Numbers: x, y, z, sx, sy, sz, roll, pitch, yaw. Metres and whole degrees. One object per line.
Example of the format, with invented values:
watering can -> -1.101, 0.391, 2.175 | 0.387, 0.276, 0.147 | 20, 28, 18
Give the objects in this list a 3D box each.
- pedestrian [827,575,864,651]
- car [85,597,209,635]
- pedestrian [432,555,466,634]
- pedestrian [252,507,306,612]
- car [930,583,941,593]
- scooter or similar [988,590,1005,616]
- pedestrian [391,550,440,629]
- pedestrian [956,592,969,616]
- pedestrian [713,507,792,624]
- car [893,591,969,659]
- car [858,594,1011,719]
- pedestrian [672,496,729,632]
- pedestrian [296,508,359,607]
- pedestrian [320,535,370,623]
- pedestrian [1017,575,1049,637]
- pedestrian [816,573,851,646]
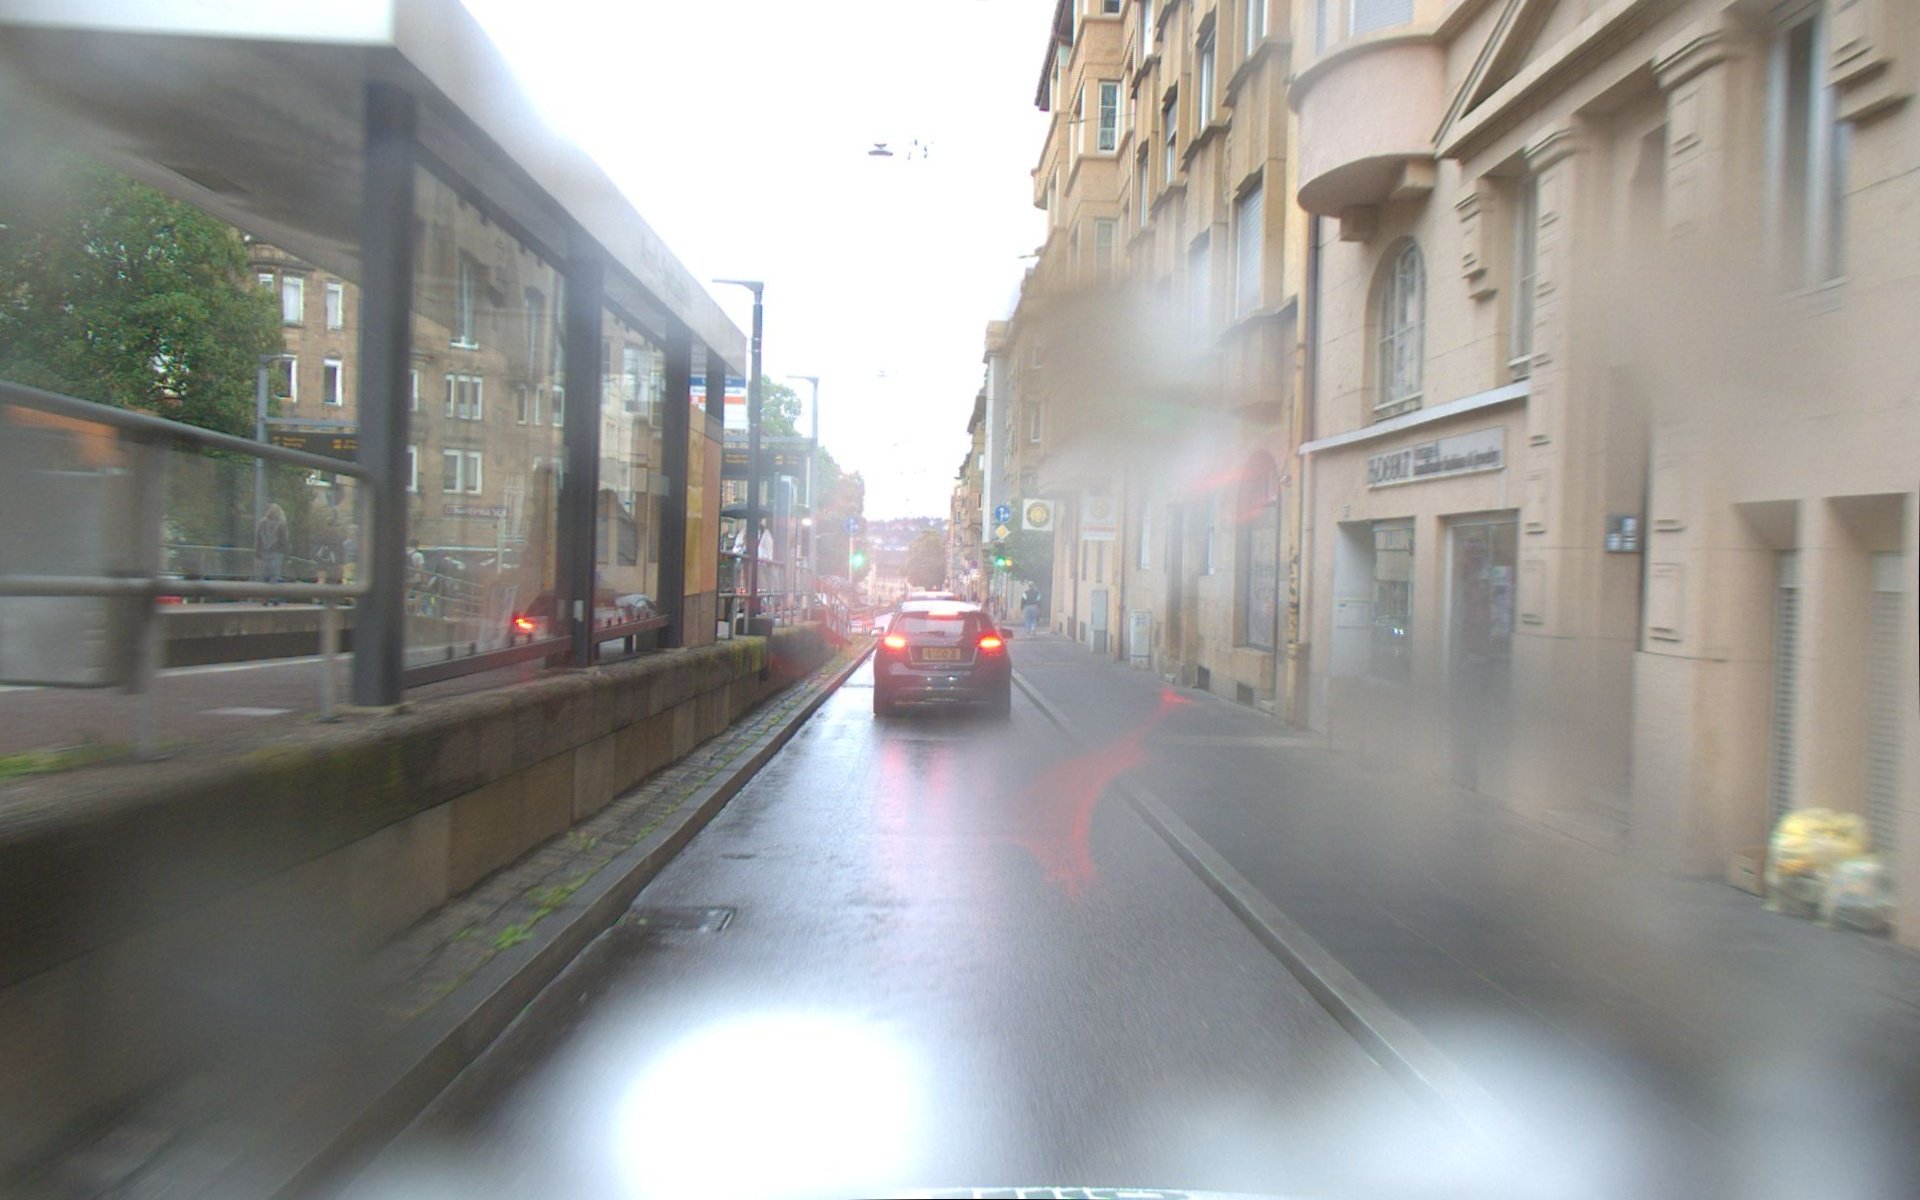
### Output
pedestrian -> -3.148, 0.348, 45.541 | 0.907, 2.049, 0.947 | 2, 0, -1
car -> -31.317, 0.599, 63.818 | 1.710, 1.427, 3.978 | 0, 0, 40
pedestrian -> -12.039, -0.128, 38.962 | 0.500, 1.850, 0.799 | 1, 0, -1
pedestrian -> -11.361, -0.675, 27.611 | 0.651, 1.728, 0.688 | 0, 0, -5
car -> -3.698, -1.769, 249.990 | 1.581, 1.340, 3.999 | 2, 0, -1
scooter or similar -> 1.726, 0.138, 78.224 | 0.625, 1.231, 1.551 | 0, 0, -5
pedestrian -> -11.348, -0.212, 34.493 | 0.678, 1.610, 0.956 | 2, -1, -1
pedestrian -> 0.164, 0.290, 121.547 | 0.926, 1.800, 1.014 | 0, 0, -3
pedestrian -> -3.309, -0.538, 26.456 | 1.091, 1.805, 1.111 | 2, 0, -1
car -> -0.633, 0.555, 38.627 | 1.615, 1.477, 4.000 | 1, 0, 1
car -> -0.282, 0.678, 22.092 | 1.828, 1.477, 4.000 | 1, 0, 1
pedestrian -> -3.550, -0.487, 22.643 | 0.630, 1.805, 0.710 | 1, 0, -1
pedestrian -> -11.588, -0.766, 30.332 | 0.729, 1.726, 0.882 | 3, -2, -1
pedestrian -> -11.983, -0.403, 32.217 | 0.728, 1.676, 0.640 | -1, -1, -1
pedestrian -> 2.265, 0.174, 51.323 | 0.880, 1.872, 0.969 | -3, 0, 4
pedestrian -> -3.608, 0.261, 47.128 | 0.879, 2.049, 0.947 | 2, 0, -1
